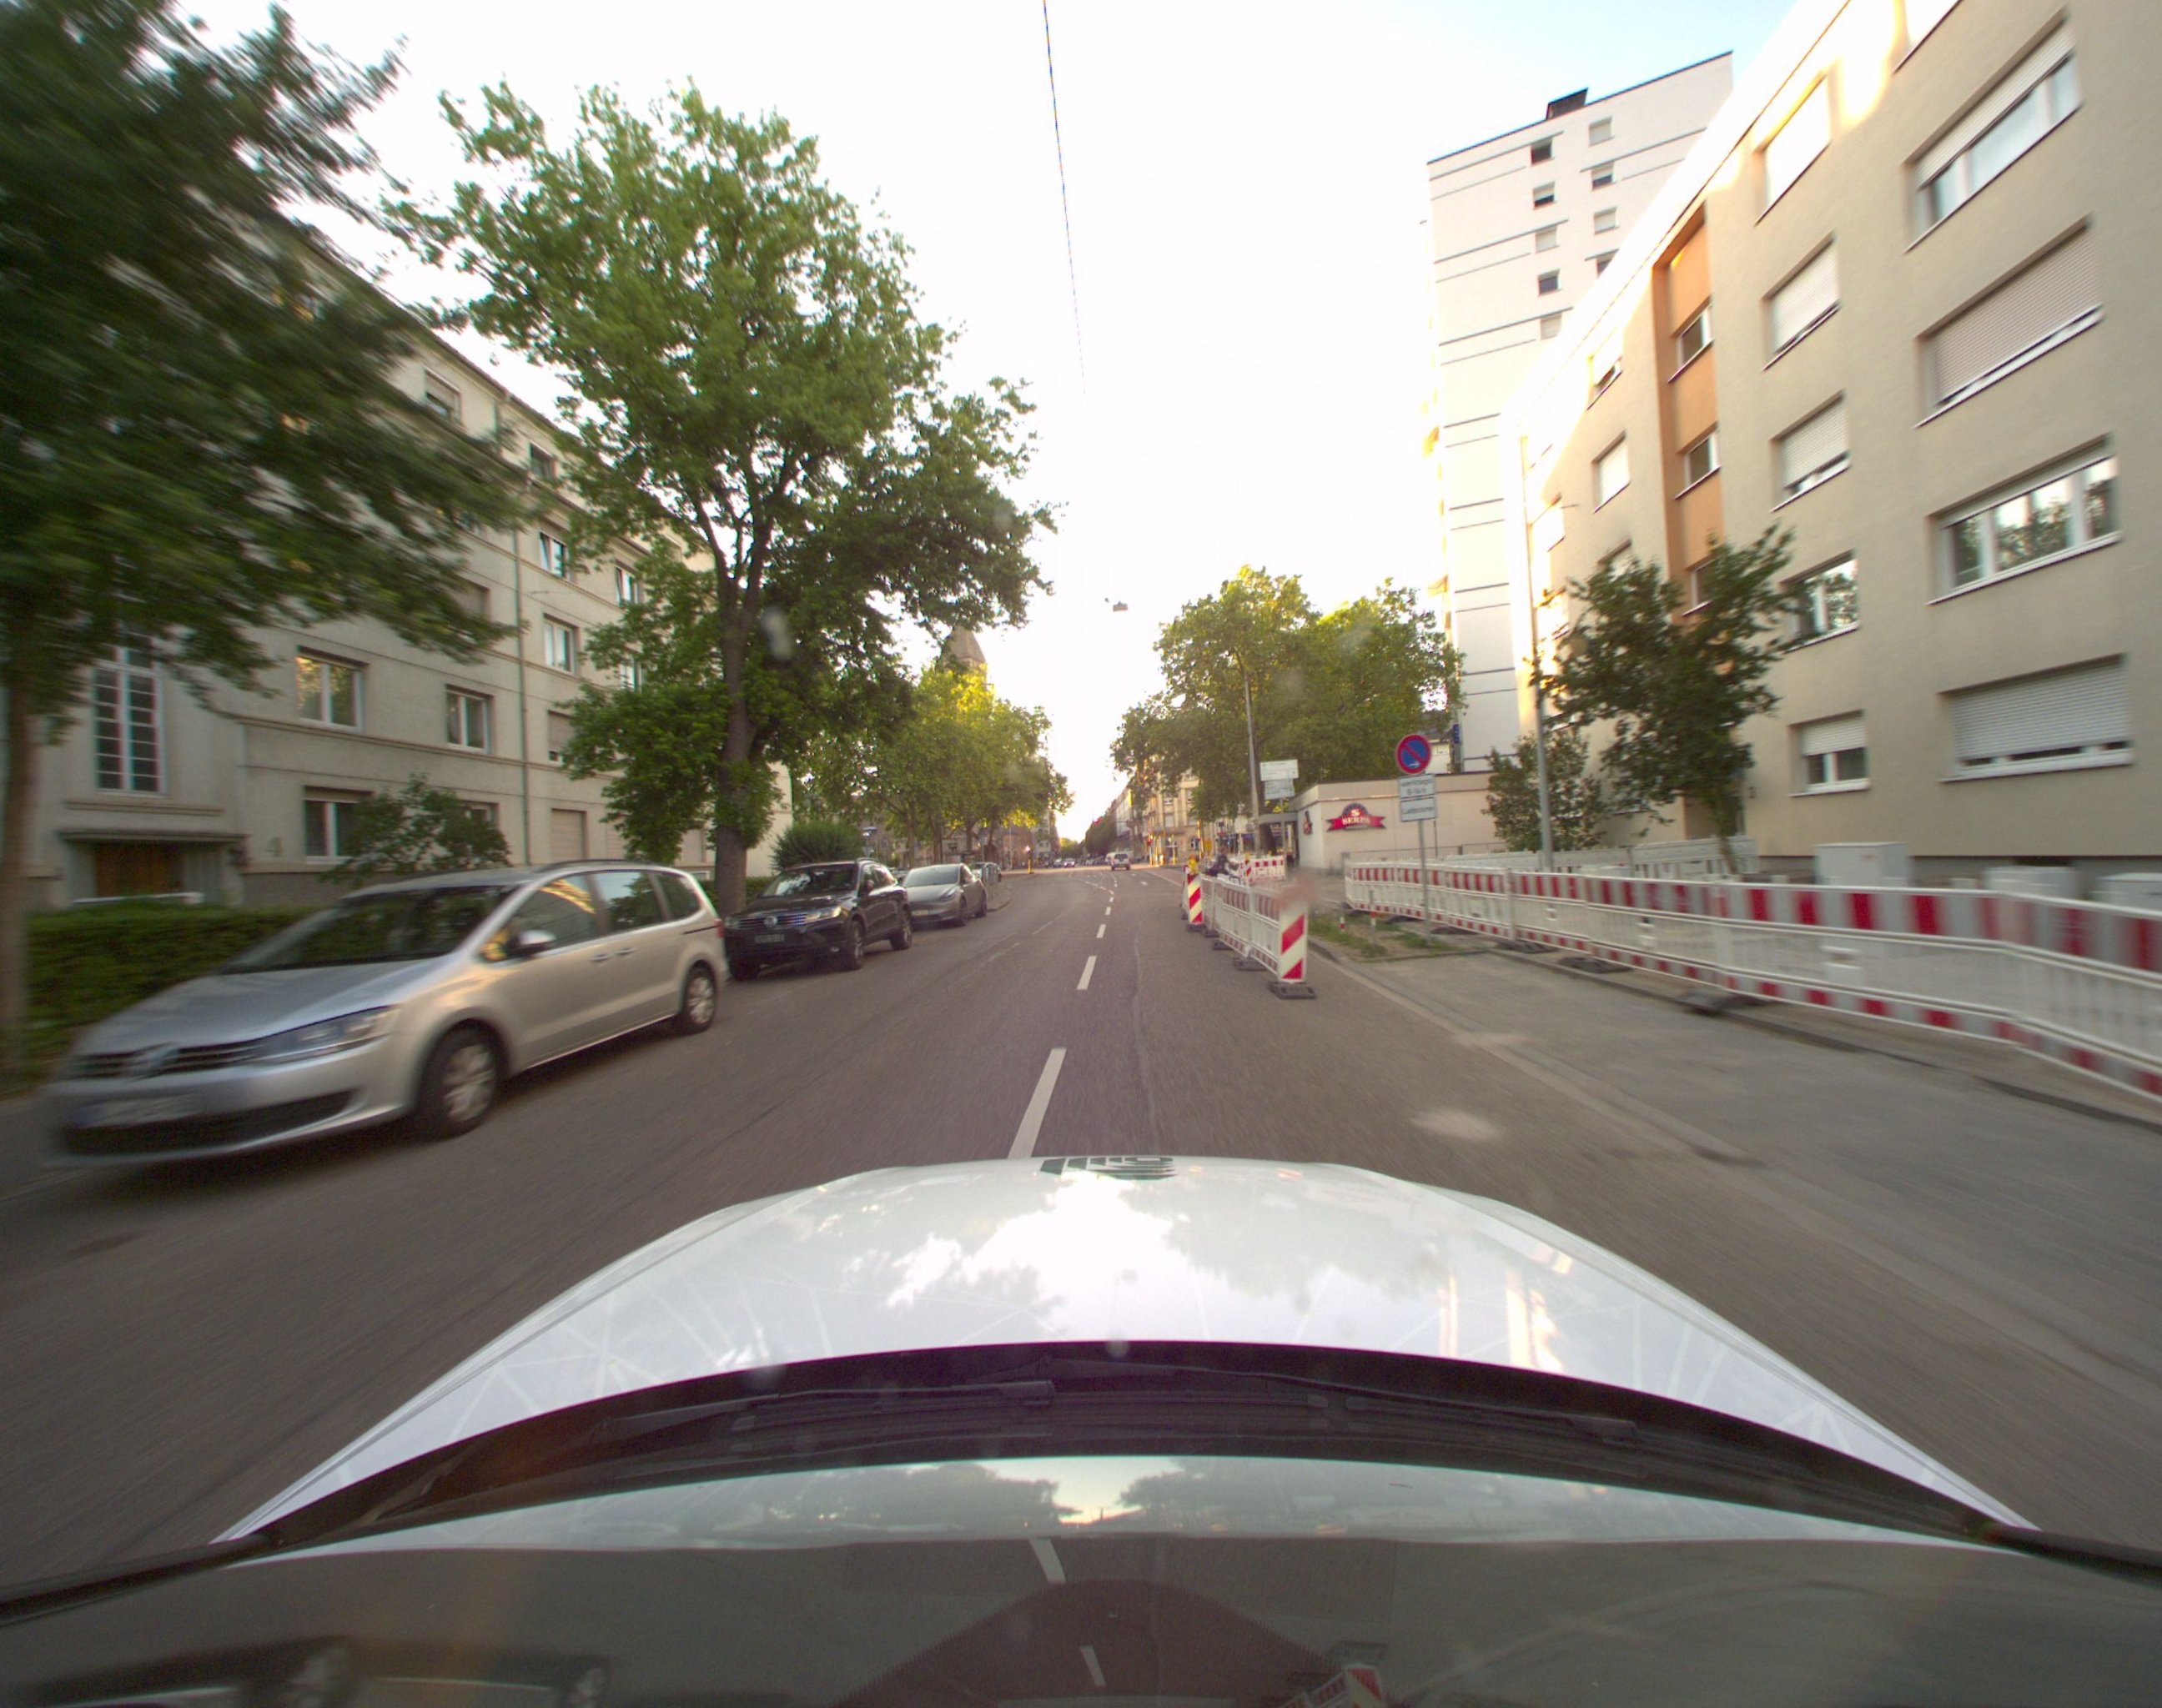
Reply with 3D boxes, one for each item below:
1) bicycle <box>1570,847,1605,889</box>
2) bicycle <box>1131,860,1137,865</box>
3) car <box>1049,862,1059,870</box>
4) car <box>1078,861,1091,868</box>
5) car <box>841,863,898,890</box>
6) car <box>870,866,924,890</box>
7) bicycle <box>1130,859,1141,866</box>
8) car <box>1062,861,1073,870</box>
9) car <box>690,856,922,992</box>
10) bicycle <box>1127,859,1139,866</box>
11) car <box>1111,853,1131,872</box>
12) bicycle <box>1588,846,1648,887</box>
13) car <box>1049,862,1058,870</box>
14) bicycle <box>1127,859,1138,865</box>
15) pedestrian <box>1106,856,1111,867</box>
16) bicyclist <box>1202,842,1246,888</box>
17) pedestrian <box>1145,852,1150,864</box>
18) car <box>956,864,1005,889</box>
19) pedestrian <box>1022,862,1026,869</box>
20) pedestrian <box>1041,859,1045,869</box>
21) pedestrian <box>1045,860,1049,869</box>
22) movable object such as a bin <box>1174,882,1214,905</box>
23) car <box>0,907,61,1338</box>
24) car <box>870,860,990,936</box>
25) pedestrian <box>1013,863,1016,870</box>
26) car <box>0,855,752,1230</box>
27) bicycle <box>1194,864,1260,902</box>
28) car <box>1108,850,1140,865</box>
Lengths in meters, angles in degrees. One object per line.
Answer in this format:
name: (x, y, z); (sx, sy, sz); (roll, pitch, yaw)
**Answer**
bicycle: (12.704, 0.325, 20.462); (0.539, 0.968, 1.825); (-3, 0, 26)
bicycle: (9.258, 1.489, 143.318); (0.539, 0.968, 1.930); (-3, 0, 17)
car: (-5.859, 2.539, 174.432); (1.990, 1.651, 3.815); (-2, -1, -5)
car: (1.078, 3.277, 255.167); (3.978, 1.816, 1.998); (-3, -1, -3)
car: (-16.429, 1.755, 63.506); (1.803, 1.800, 4.657); (-3, 0, 22)
car: (-13.838, 1.768, 61.527); (1.805, 1.481, 4.652); (-3, 0, 16)
bicycle: (9.499, 1.469, 141.946); (1.900, 0.968, 0.548); (-3, -1, 17)
car: (-2.519, 2.092, 152.444); (1.778, 1.651, 3.815); (-2, -1, -5)
car: (-4.281, 0.983, 13.660); (1.946, 1.719, 4.774); (-5, -1, 3)
bicycle: (8.988, 1.473, 141.180); (1.908, 0.968, 0.546); (-3, -1, 1)
car: (4.153, 0.907, 85.119); (1.859, 1.815, 4.001); (-4, -1, 2)
bicycle: (13.573, 0.302, 20.639); (0.541, 0.968, 1.701); (-3, 0, 8)
car: (-6.163, 2.638, 182.166); (1.990, 1.651, 3.815); (-2, -1, -5)
bicycle: (8.940, 1.357, 140.903); (1.908, 0.968, 0.546); (-3, -1, 1)
pedestrian: (4.595, 1.245, 136.818); (0.590, 1.886, 0.648); (-3, -1, 5)
bicyclist: (5.272, 0.412, 30.081); (1.151, 1.581, 0.932); (-5, -1, -36)
pedestrian: (10.939, 0.652, 133.997); (0.590, 1.886, 0.648); (-3, -1, 5)
car: (-7.136, 1.573, 58.000); (1.978, 1.519, 4.017); (-3, 0, 16)
pedestrian: (-11.144, 2.191, 158.281); (0.568, 1.291, 0.488); (-3, -1, 15)
pedestrian: (-7.777, 2.087, 168.381); (0.589, 1.886, 0.587); (-3, -1, 14)
pedestrian: (-7.007, 2.103, 168.301); (0.589, 1.886, 0.555); (-3, -1, 14)
movable object such as a bin: (4.057, 1.424, 29.163); (0.998, 0.689, 0.932); (-5, -1, -36)
car: (-4.947, 1.022, 0.981); (1.723, 1.497, 4.279); (-5, -1, 7)
car: (-3.822, 1.067, 21.504); (1.946, 1.616, 4.608); (-5, -1, 3)
pedestrian: (-12.543, 2.390, 153.529); (0.499, 1.280, 0.489); (-3, -1, -21)
car: (-4.616, 0.948, 6.407); (1.840, 1.690, 4.860); (-5, -1, 1)
bicycle: (5.415, 1.069, 30.125); (2.369, 1.172, 0.932); (-5, -1, -36)
car: (7.857, 0.601, 147.489); (5.854, 2.288, 2.048); (-3, -1, -40)
